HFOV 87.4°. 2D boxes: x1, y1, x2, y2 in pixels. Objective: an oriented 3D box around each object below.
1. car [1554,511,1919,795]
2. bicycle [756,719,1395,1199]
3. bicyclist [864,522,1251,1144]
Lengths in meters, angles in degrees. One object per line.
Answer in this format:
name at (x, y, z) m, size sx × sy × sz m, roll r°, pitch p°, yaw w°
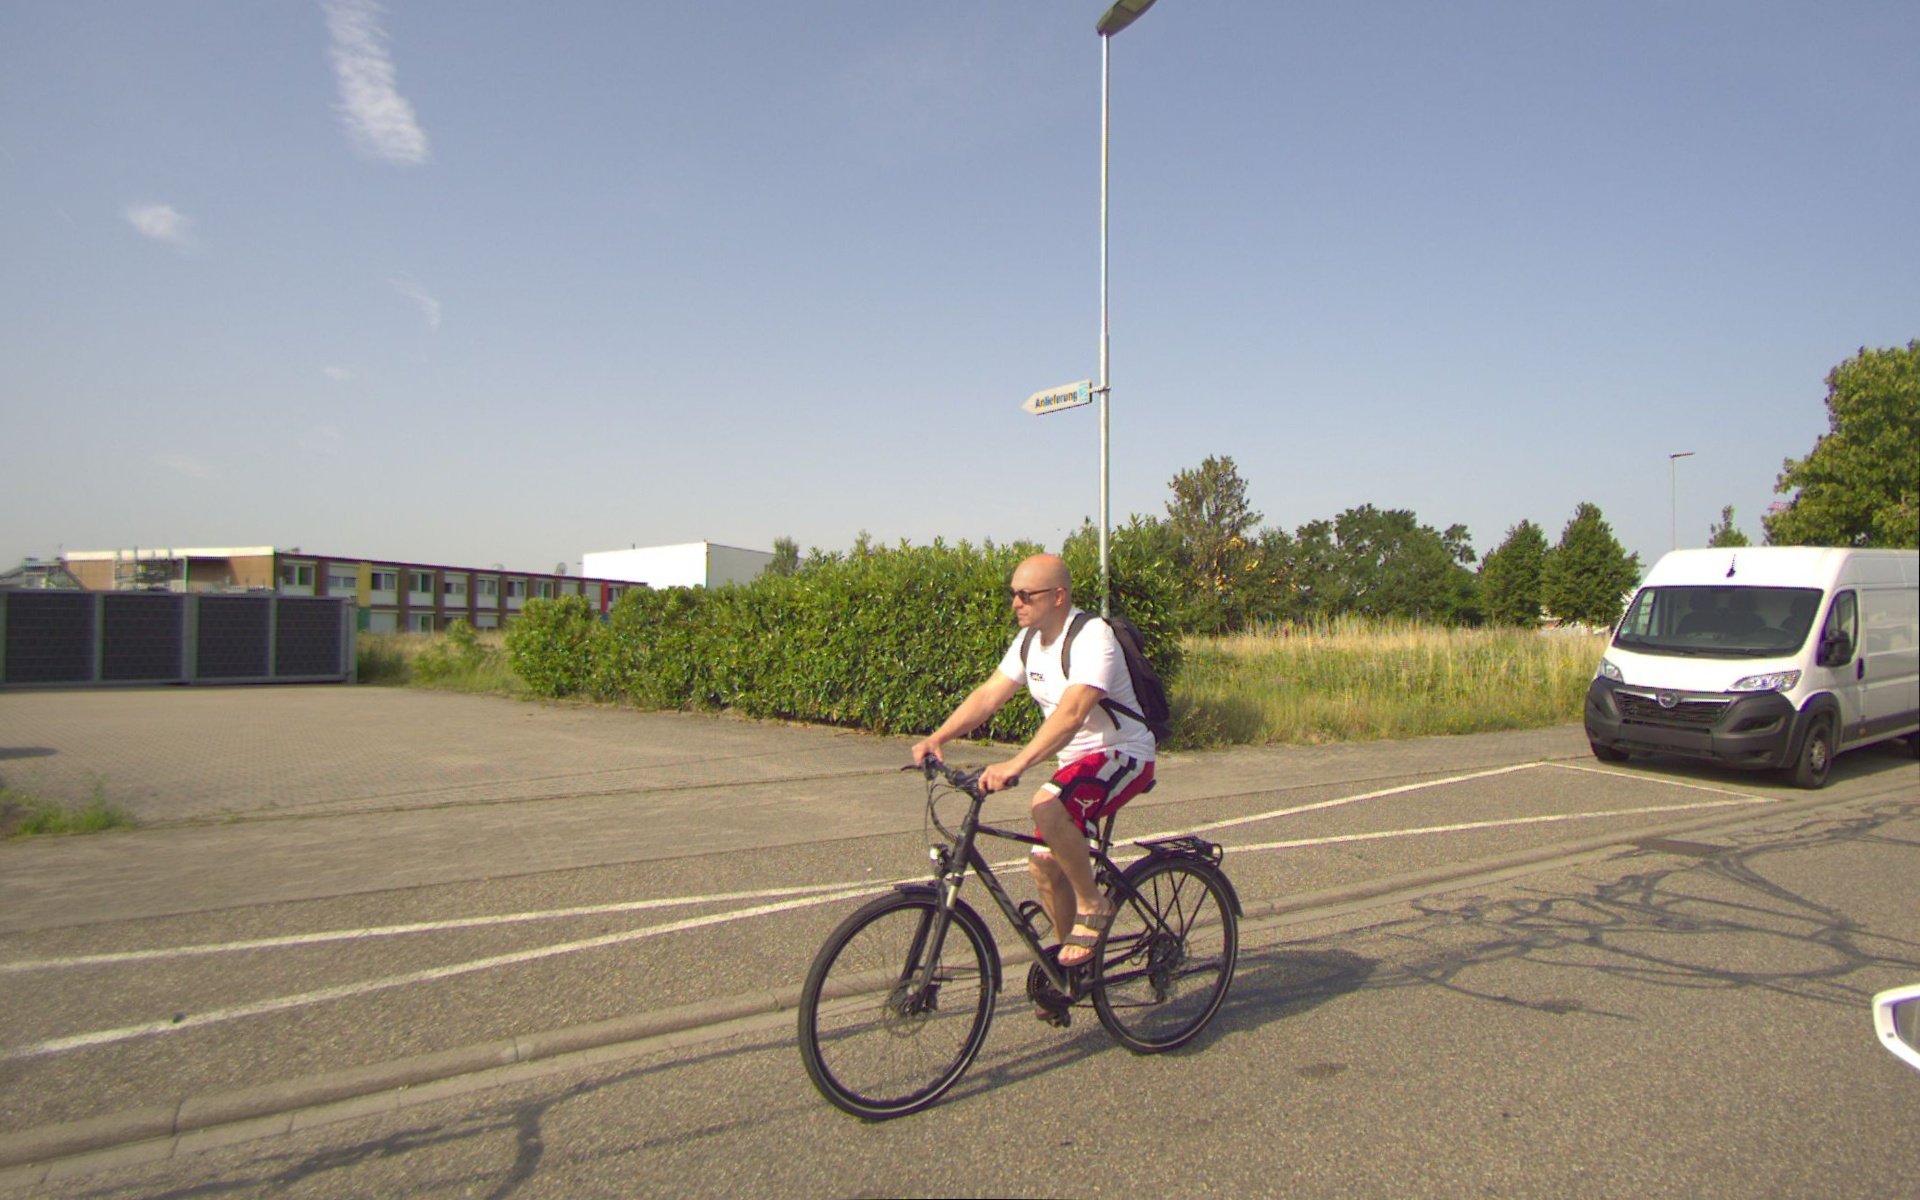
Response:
car at (9.820, 0.503, 11.946) m, size 6.434 × 2.630 × 2.089 m, roll 1°, pitch 1°, yaw -33°
bicycle at (0.467, 1.040, 3.472) m, size 2.193 × 1.136 × 0.713 m, roll 1°, pitch -4°, yaw -30°
bicyclist at (0.336, 0.668, 3.395) m, size 1.152 × 1.741 × 0.636 m, roll 1°, pitch -2°, yaw -30°
